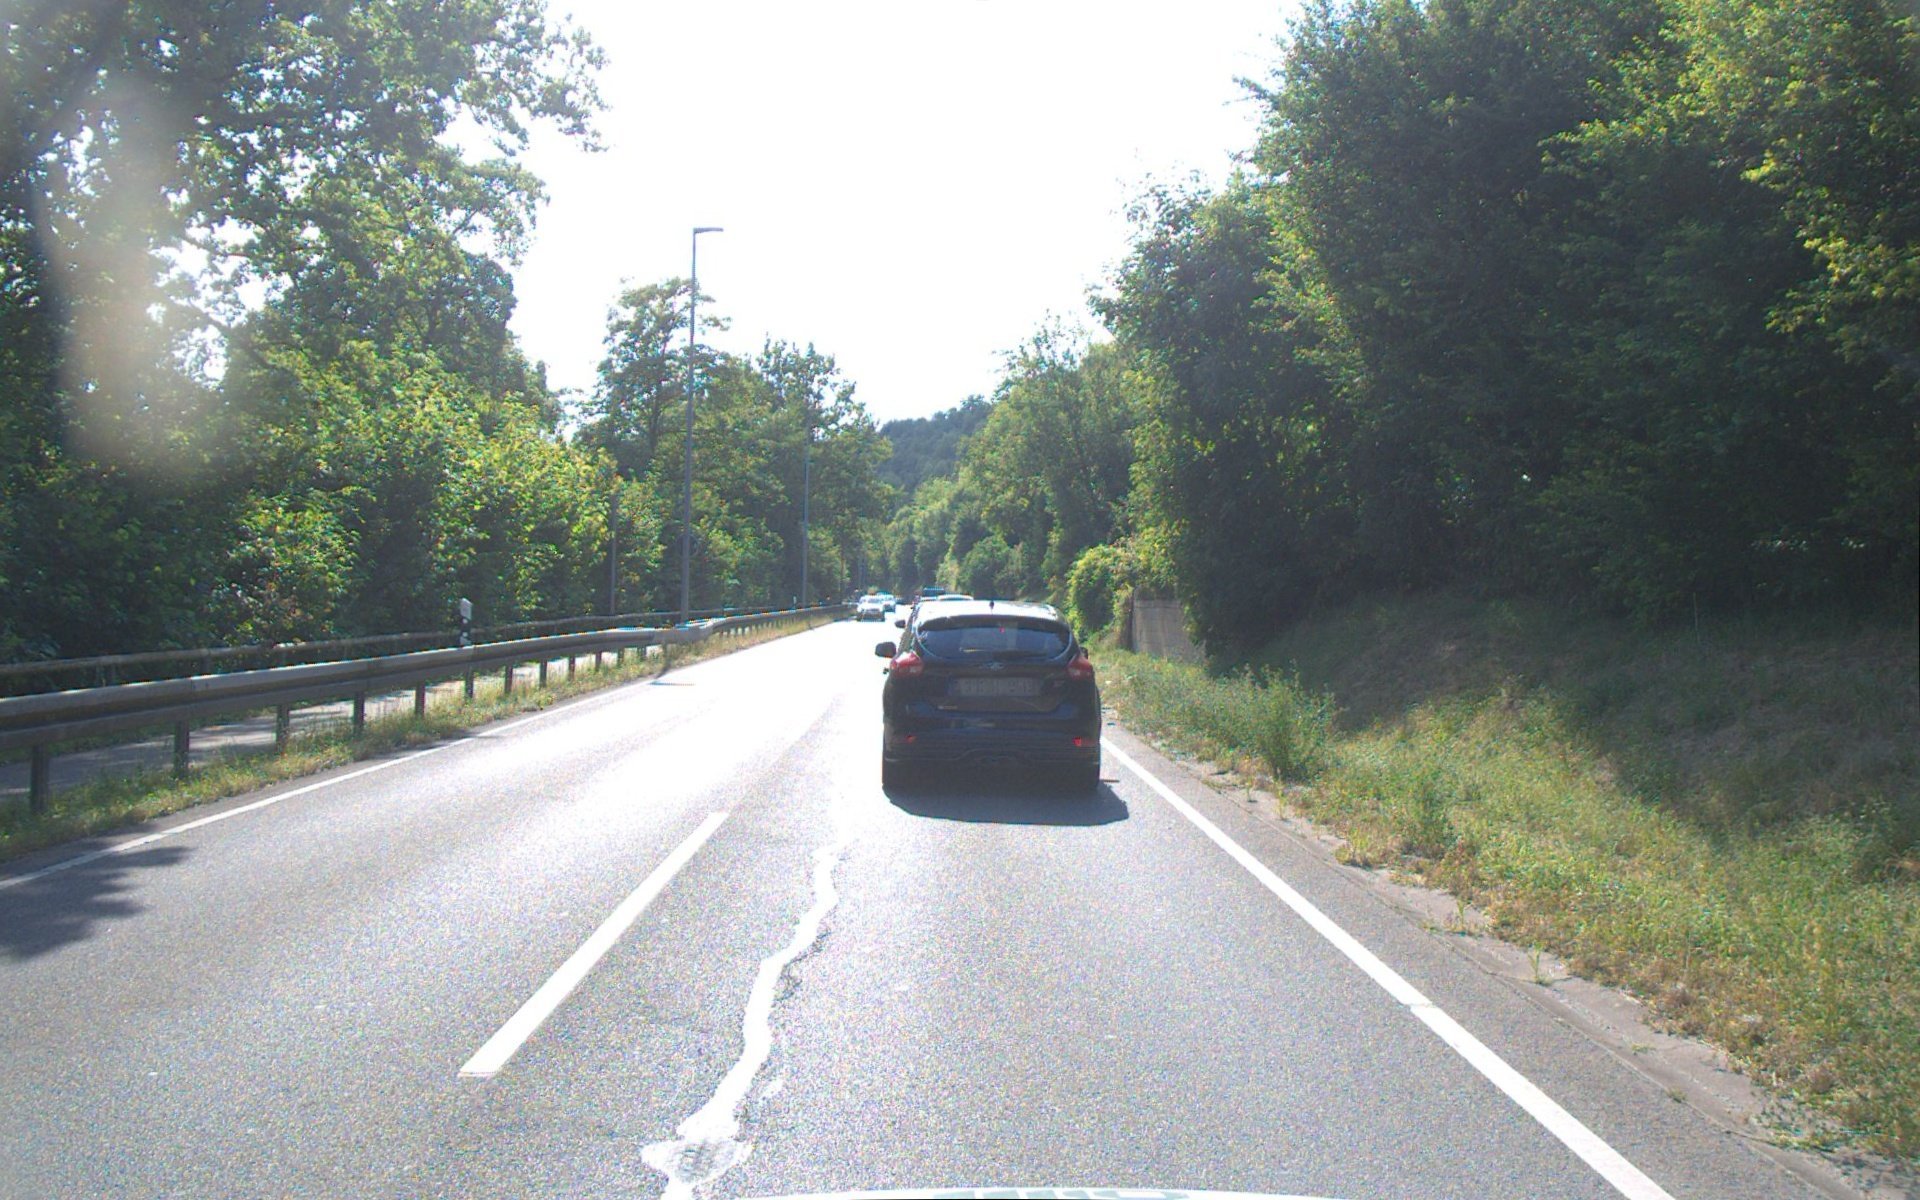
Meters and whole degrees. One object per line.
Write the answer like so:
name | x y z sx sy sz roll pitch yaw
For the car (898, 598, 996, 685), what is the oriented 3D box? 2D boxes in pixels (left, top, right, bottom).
car | -0.201 0.696 29.683 1.627 1.443 4.000 0 0 1

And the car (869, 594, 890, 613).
car | -6.667 0.291 137.950 1.647 1.489 4.196 1 0 -1

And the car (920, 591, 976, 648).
car | -0.363 0.561 49.377 1.597 1.624 3.999 0 0 -1

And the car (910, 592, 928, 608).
car | -4.205 -0.015 171.538 1.782 1.545 3.999 0 0 -1

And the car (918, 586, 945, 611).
car | -2.118 -0.093 122.600 1.826 1.812 3.997 0 0 -3

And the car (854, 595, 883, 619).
car | -5.426 0.408 98.766 1.590 1.401 4.046 0 0 -1

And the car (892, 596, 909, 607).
car | -8.126 0.177 226.843 1.956 1.545 3.993 0 0 -8

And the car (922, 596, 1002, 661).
car | 0.029 0.628 38.747 1.768 1.416 3.999 0 0 -1

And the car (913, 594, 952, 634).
car | -1.157 0.567 69.788 1.597 1.624 3.999 0 0 -1

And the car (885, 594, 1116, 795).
car | 0.278 0.708 14.311 1.704 1.482 3.999 1 0 -1
